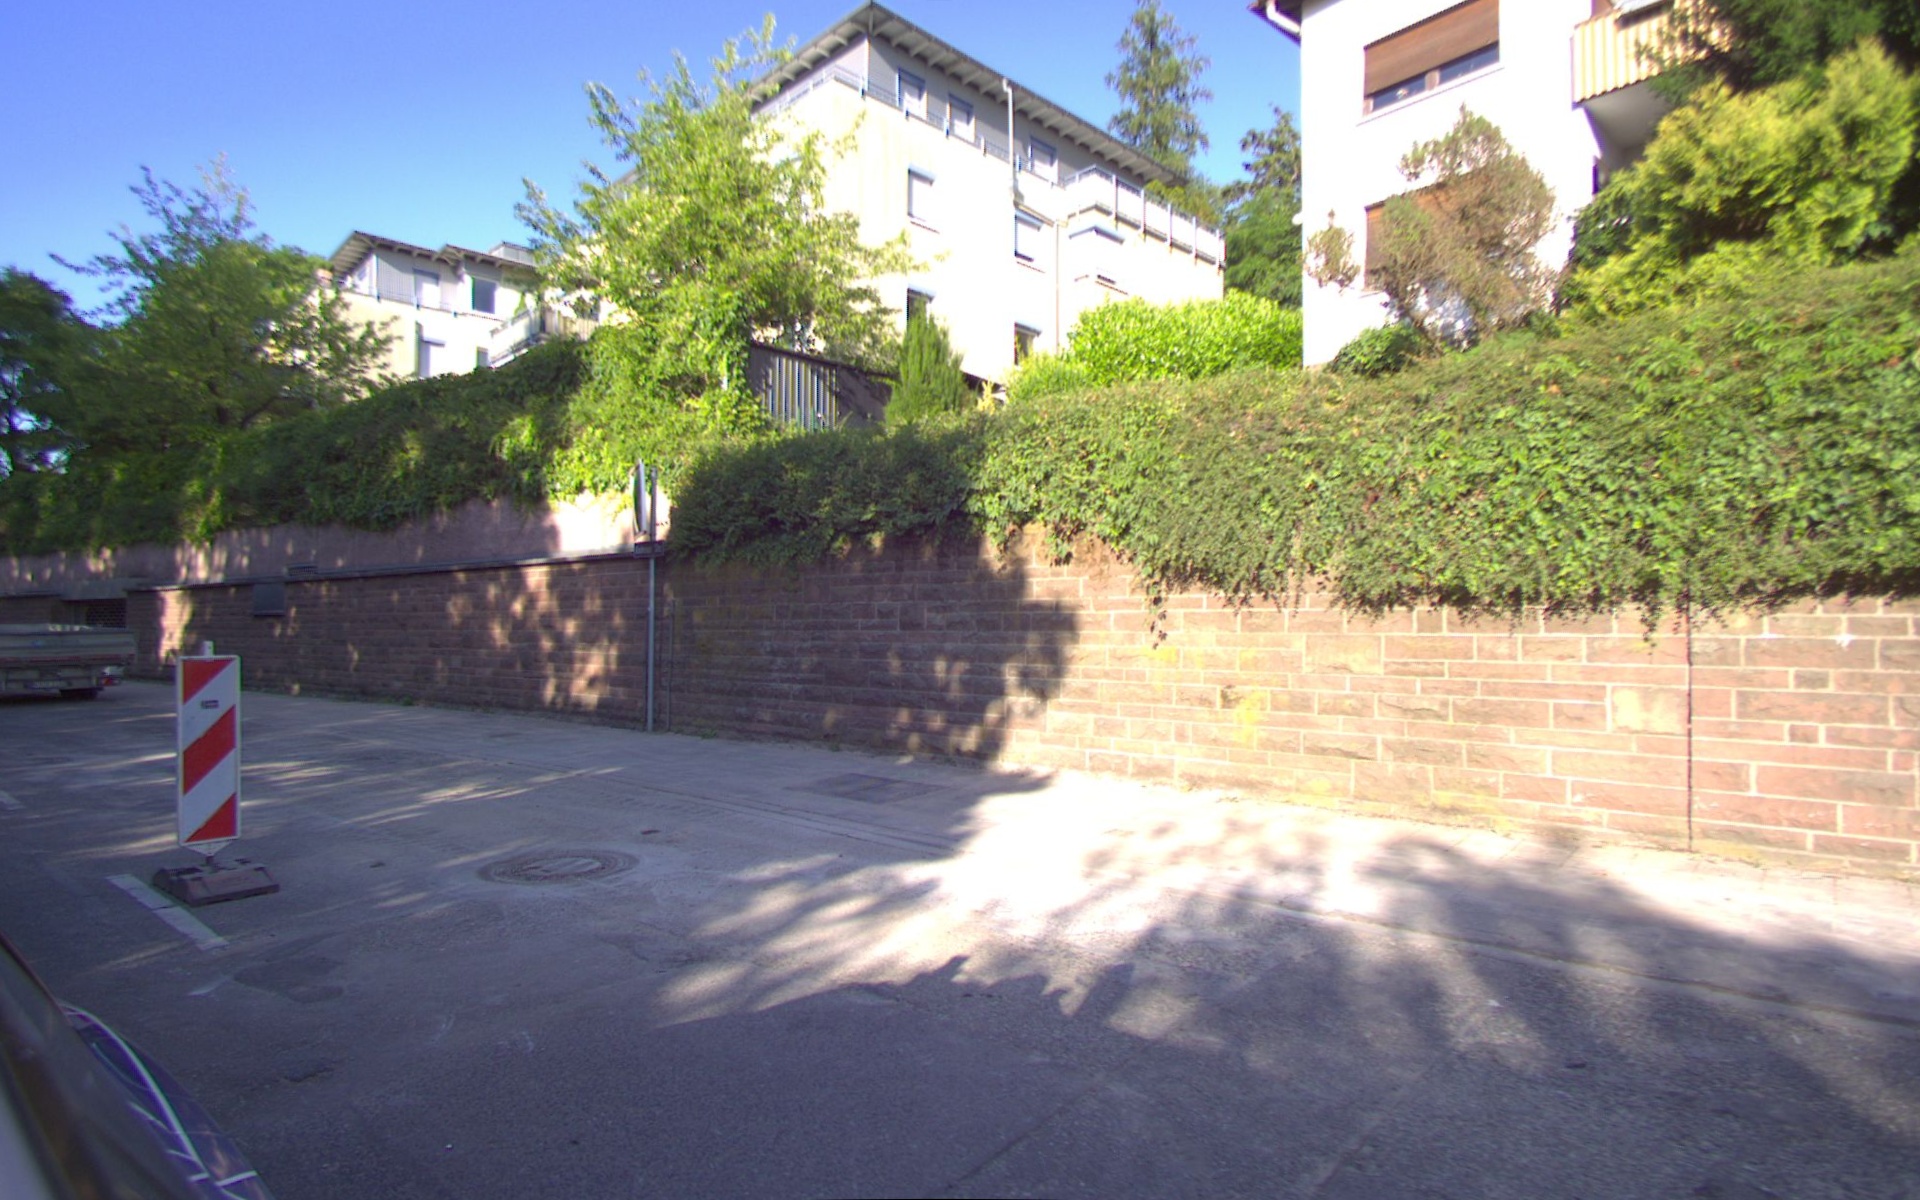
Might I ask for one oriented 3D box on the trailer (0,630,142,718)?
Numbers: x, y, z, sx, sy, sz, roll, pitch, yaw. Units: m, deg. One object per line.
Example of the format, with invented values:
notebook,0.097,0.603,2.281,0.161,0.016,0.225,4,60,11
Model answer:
trailer,-19.276,1.366,20.178,7.098,1.501,2.618,-1,-1,34
